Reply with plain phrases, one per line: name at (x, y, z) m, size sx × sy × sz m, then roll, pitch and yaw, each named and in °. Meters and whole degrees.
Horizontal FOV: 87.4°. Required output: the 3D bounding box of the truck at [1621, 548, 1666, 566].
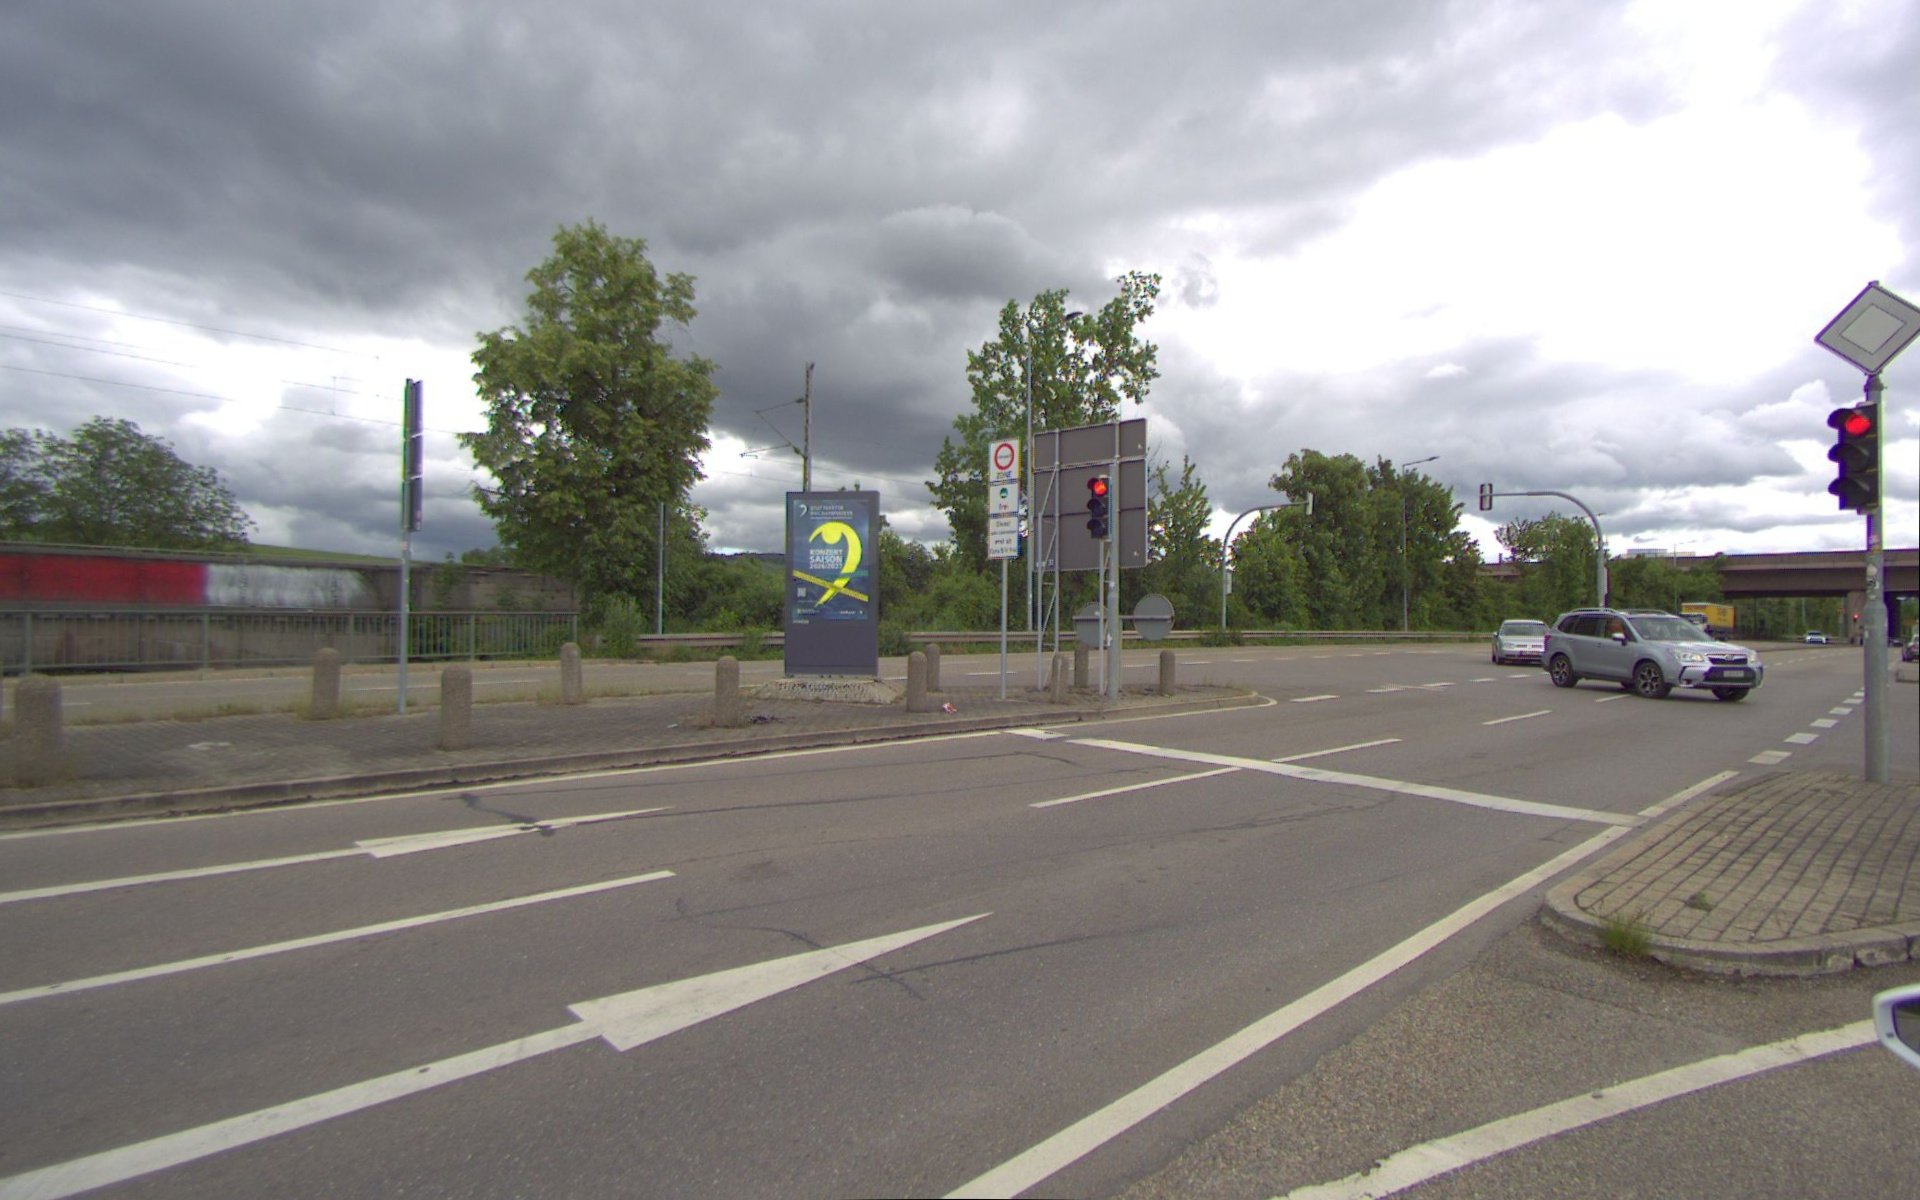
truck at (97.410, -6.098, 143.280) m, size 1.972 × 2.352 × 5.048 m, roll 1°, pitch 0°, yaw -23°

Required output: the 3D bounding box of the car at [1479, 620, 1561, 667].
car at (18.126, 1.350, 32.690) m, size 1.696 × 1.419 × 4.066 m, roll 0°, pitch -1°, yaw 20°

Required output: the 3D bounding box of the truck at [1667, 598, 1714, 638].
truck at (80.277, 1.933, 110.324) m, size 6.441 × 4.139 × 2.844 m, roll 1°, pitch 1°, yaw -43°

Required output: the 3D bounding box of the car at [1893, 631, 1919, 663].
car at (48.264, 2.401, 50.331) m, size 1.970 × 1.461 × 4.091 m, roll 2°, pitch -2°, yaw 41°

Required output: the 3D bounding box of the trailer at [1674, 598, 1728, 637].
trailer at (84.127, 2.019, 113.909) m, size 11.345 × 4.139 × 2.844 m, roll 1°, pitch 1°, yaw -43°

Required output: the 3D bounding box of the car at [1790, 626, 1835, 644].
car at (101.995, 4.166, 120.250) m, size 1.961 × 1.885 × 3.999 m, roll 2°, pitch 2°, yaw 0°

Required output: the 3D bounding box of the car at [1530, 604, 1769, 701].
car at (13.868, 1.003, 20.584) m, size 1.696 × 1.760 × 4.555 m, roll 0°, pitch -1°, yaw -1°
